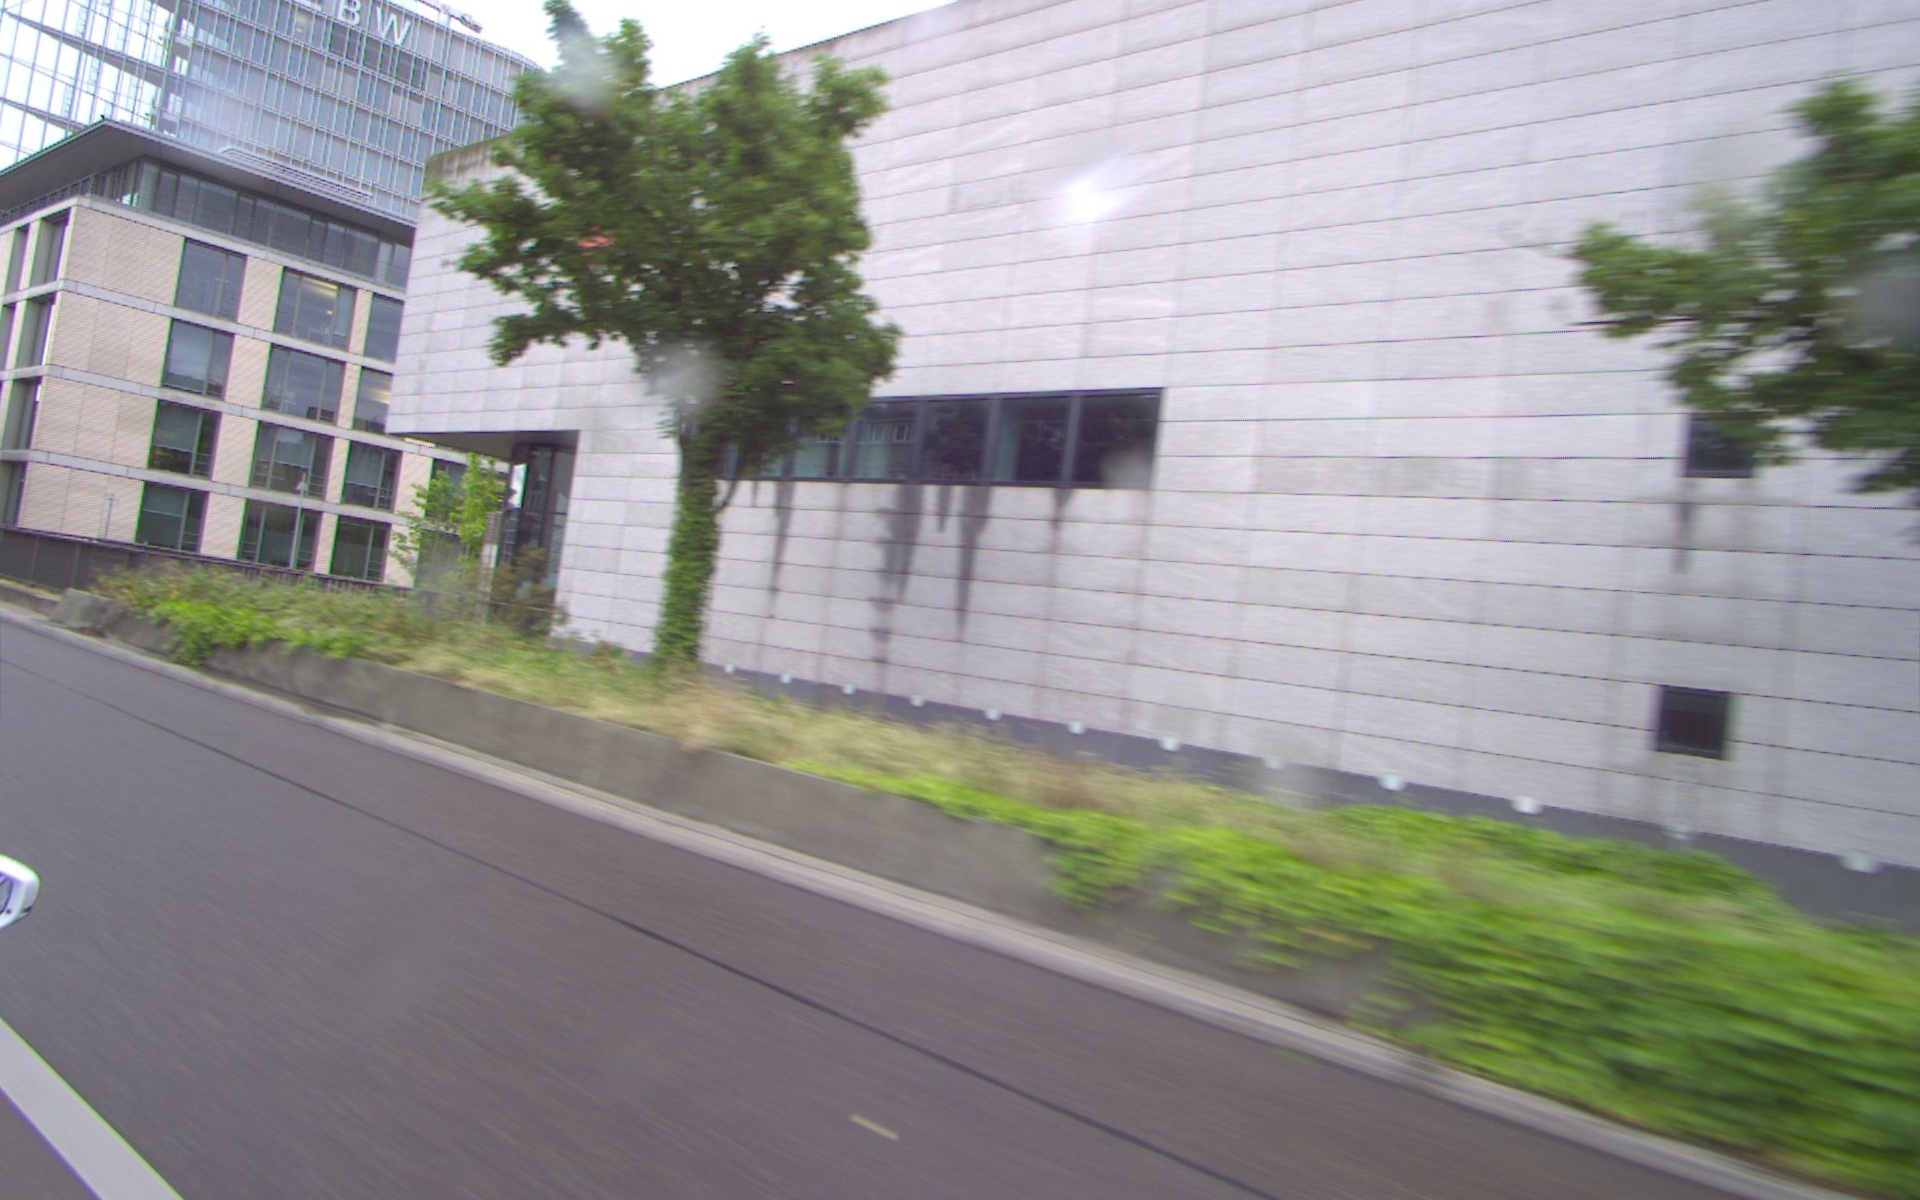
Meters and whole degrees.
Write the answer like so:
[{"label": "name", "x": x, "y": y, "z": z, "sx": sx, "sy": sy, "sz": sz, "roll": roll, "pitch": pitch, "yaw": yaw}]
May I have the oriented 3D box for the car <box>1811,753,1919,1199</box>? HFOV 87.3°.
[{"label": "car", "x": 3.690, "y": 1.298, "z": 0.893, "sx": 4.136, "sy": 1.453, "sz": 1.876, "roll": 8, "pitch": -1, "yaw": 33}]
